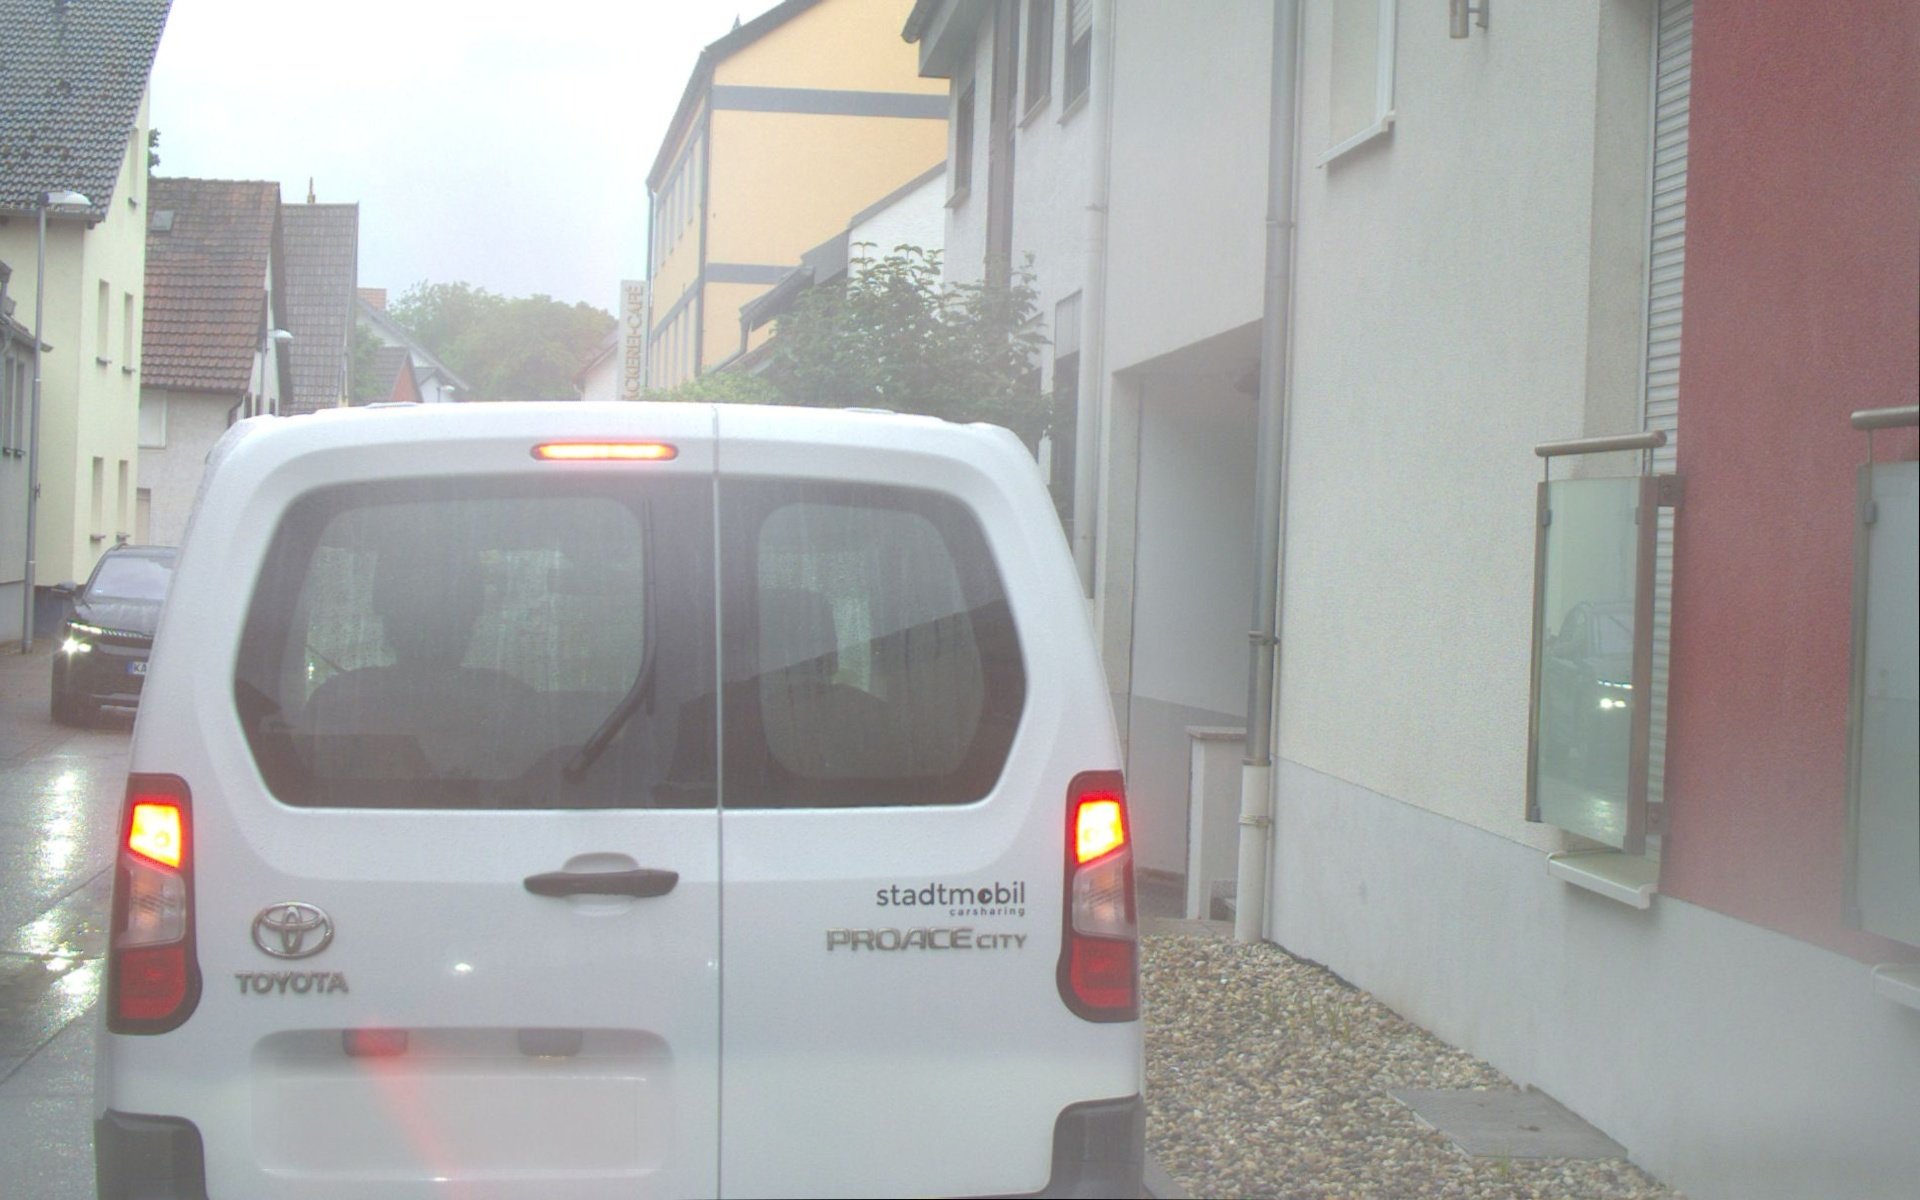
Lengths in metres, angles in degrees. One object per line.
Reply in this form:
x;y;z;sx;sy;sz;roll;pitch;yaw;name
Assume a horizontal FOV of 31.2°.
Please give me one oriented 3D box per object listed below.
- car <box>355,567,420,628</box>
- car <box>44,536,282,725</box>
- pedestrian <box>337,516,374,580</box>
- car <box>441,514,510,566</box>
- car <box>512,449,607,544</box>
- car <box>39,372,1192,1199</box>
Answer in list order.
-14.291;-0.082;85.772;1.560;1.472;4.001;1;1;-10;car
-7.206;0.228;31.432;1.832;1.550;4.241;2;1;-10;car
-18.213;-1.567;103.595;1.050;1.886;0.877;1;0;-9;pedestrian
-13.659;-1.672;96.721;1.779;1.390;4.001;1;1;-10;car
-8.849;-2.272;76.277;1.993;2.007;4.001;1;1;-6;car
-0.829;0.528;7.340;1.774;1.774;4.001;1;1;-9;car
